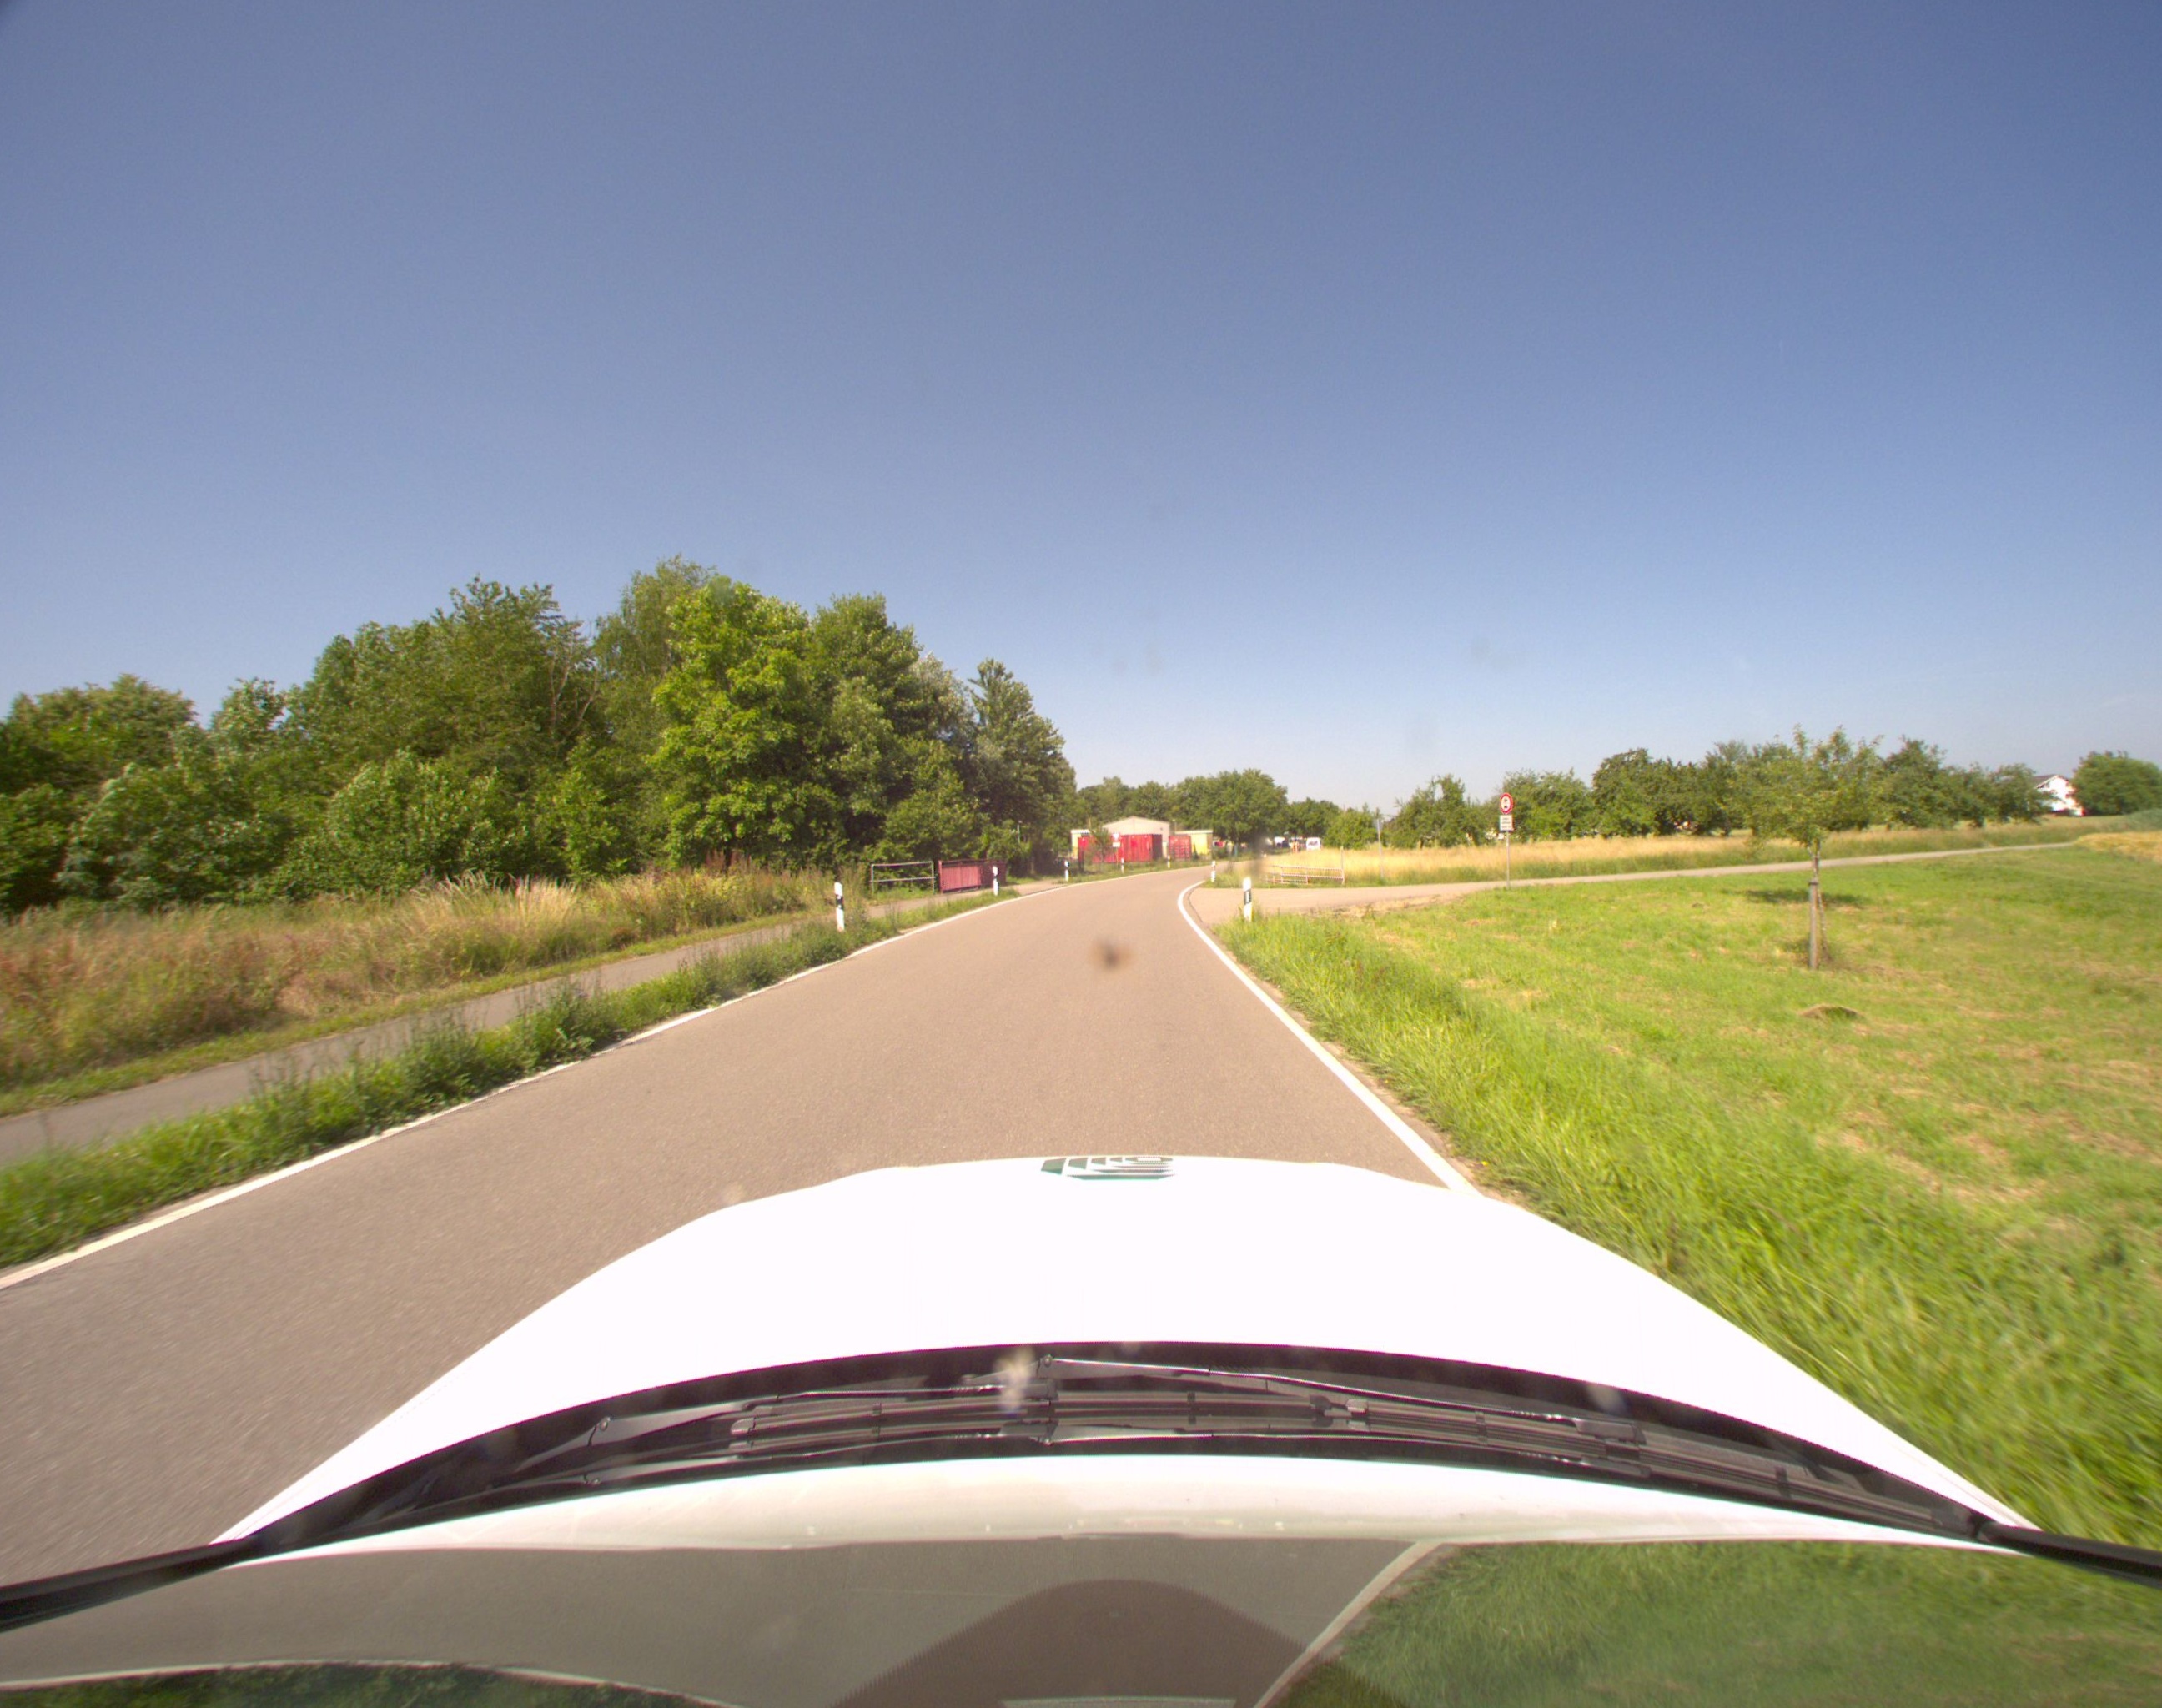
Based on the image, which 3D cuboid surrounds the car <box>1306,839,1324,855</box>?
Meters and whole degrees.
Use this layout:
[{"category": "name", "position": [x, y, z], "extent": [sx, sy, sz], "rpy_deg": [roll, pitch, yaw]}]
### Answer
[{"category": "car", "position": [34.469, -1.096, 119.980], "extent": [1.976, 2.266, 4.752], "rpy_deg": [-2, 0, 23]}]

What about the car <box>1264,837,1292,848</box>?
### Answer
[{"category": "car", "position": [43.075, -2.527, 178.010], "extent": [5.607, 2.266, 1.989], "rpy_deg": [-2, 0, -17]}]

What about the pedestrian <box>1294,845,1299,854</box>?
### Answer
[{"category": "pedestrian", "position": [40.817, -0.832, 154.319], "extent": [0.670, 1.566, 0.723], "rpy_deg": [-2, 0, 45]}]
